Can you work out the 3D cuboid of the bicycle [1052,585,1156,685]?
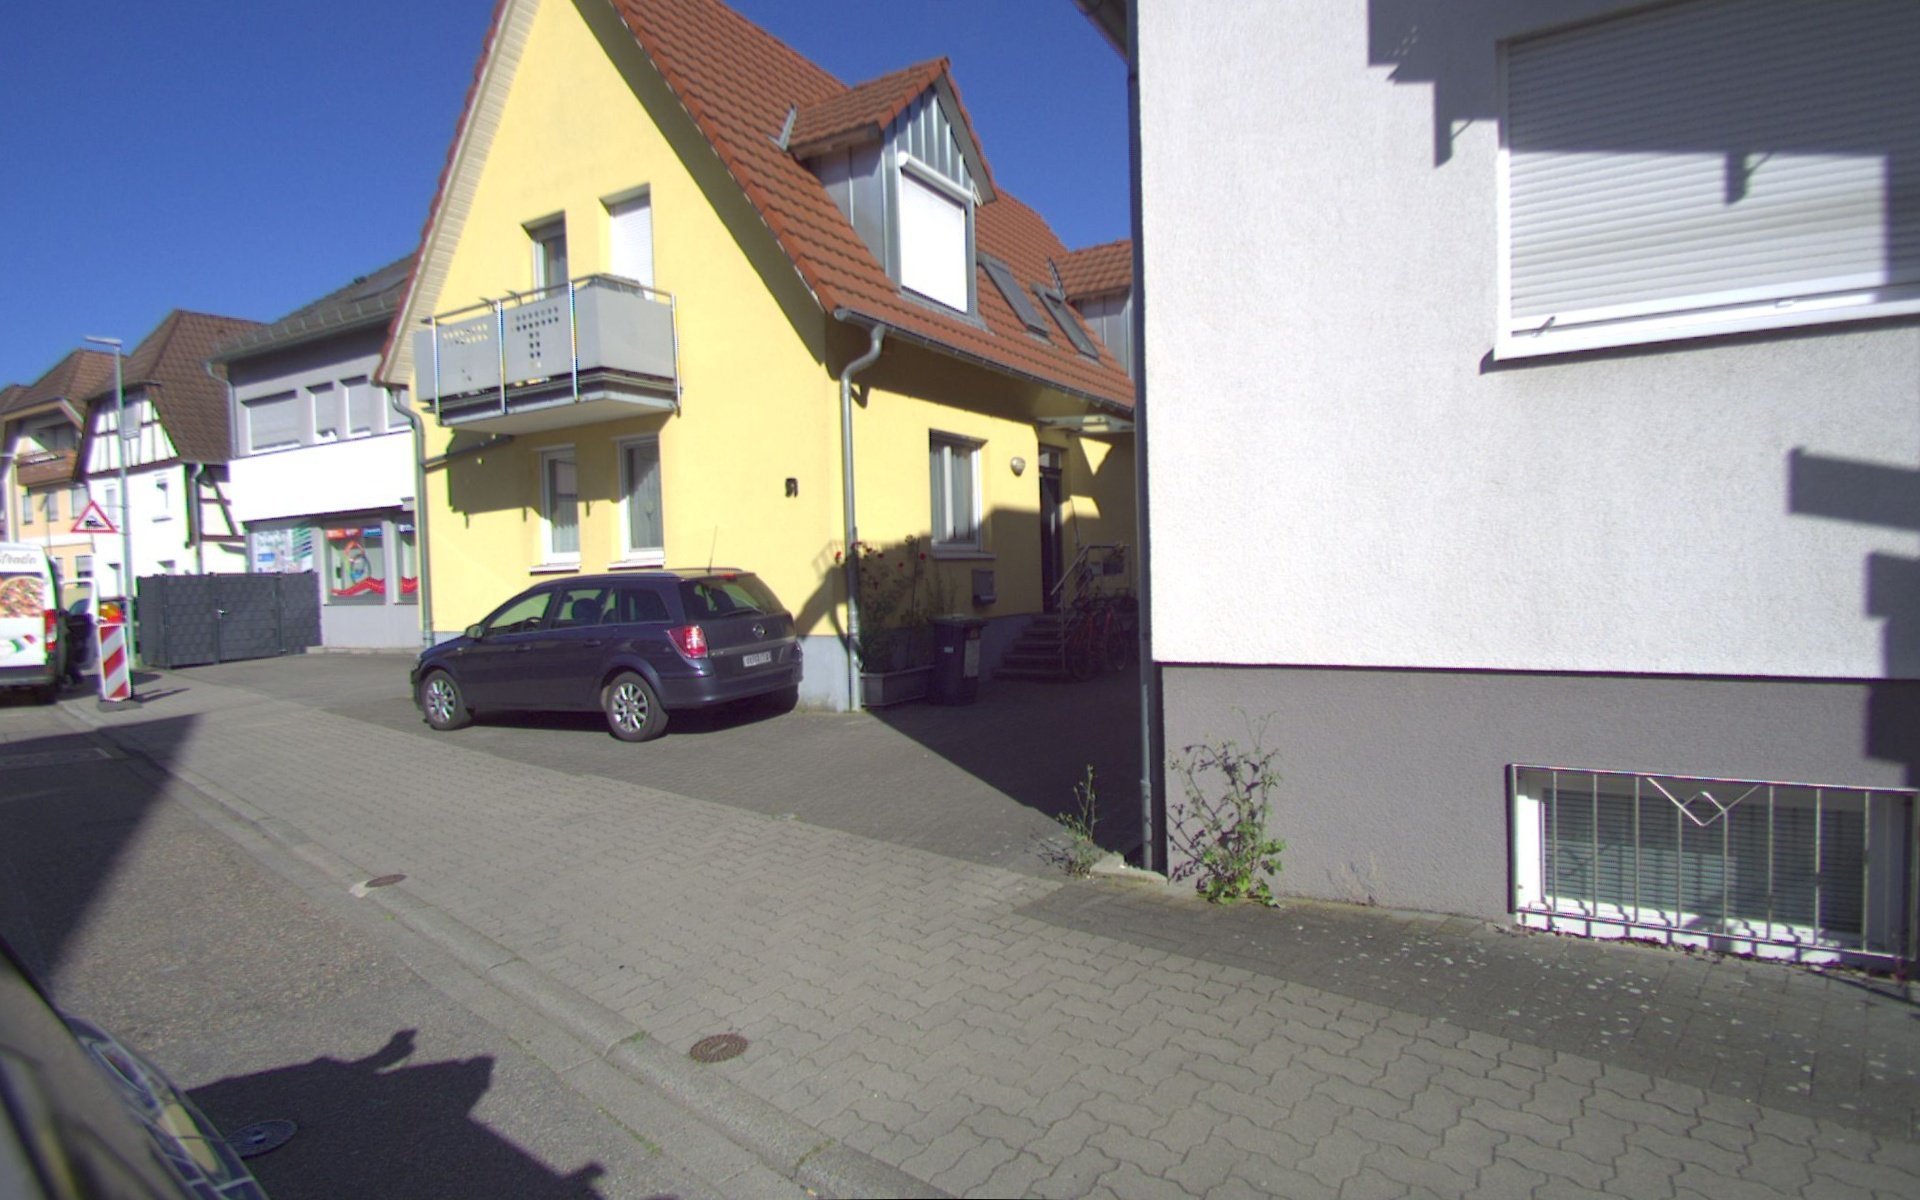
[{"bbox_3d":[1.854,0.405,12.830,0.556,1.151,1.844,-1,1,33],"label":"bicycle"}]

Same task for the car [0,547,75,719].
[{"bbox_3d":[-16.182,0.520,16.367,5.516,2.489,2.228,-1,1,43],"label":"car"}]

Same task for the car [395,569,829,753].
[{"bbox_3d":[-3.506,0.526,10.034,4.158,1.456,1.678,-1,3,29],"label":"car"}]

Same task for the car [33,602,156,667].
[{"bbox_3d":[-23.795,0.913,27.783,4.104,1.598,1.628,-1,2,36],"label":"car"}]

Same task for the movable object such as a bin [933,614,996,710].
[{"bbox_3d":[0.049,0.619,10.297,0.492,0.936,0.375,-1,1,34],"label":"movable object such as a bin"}]
